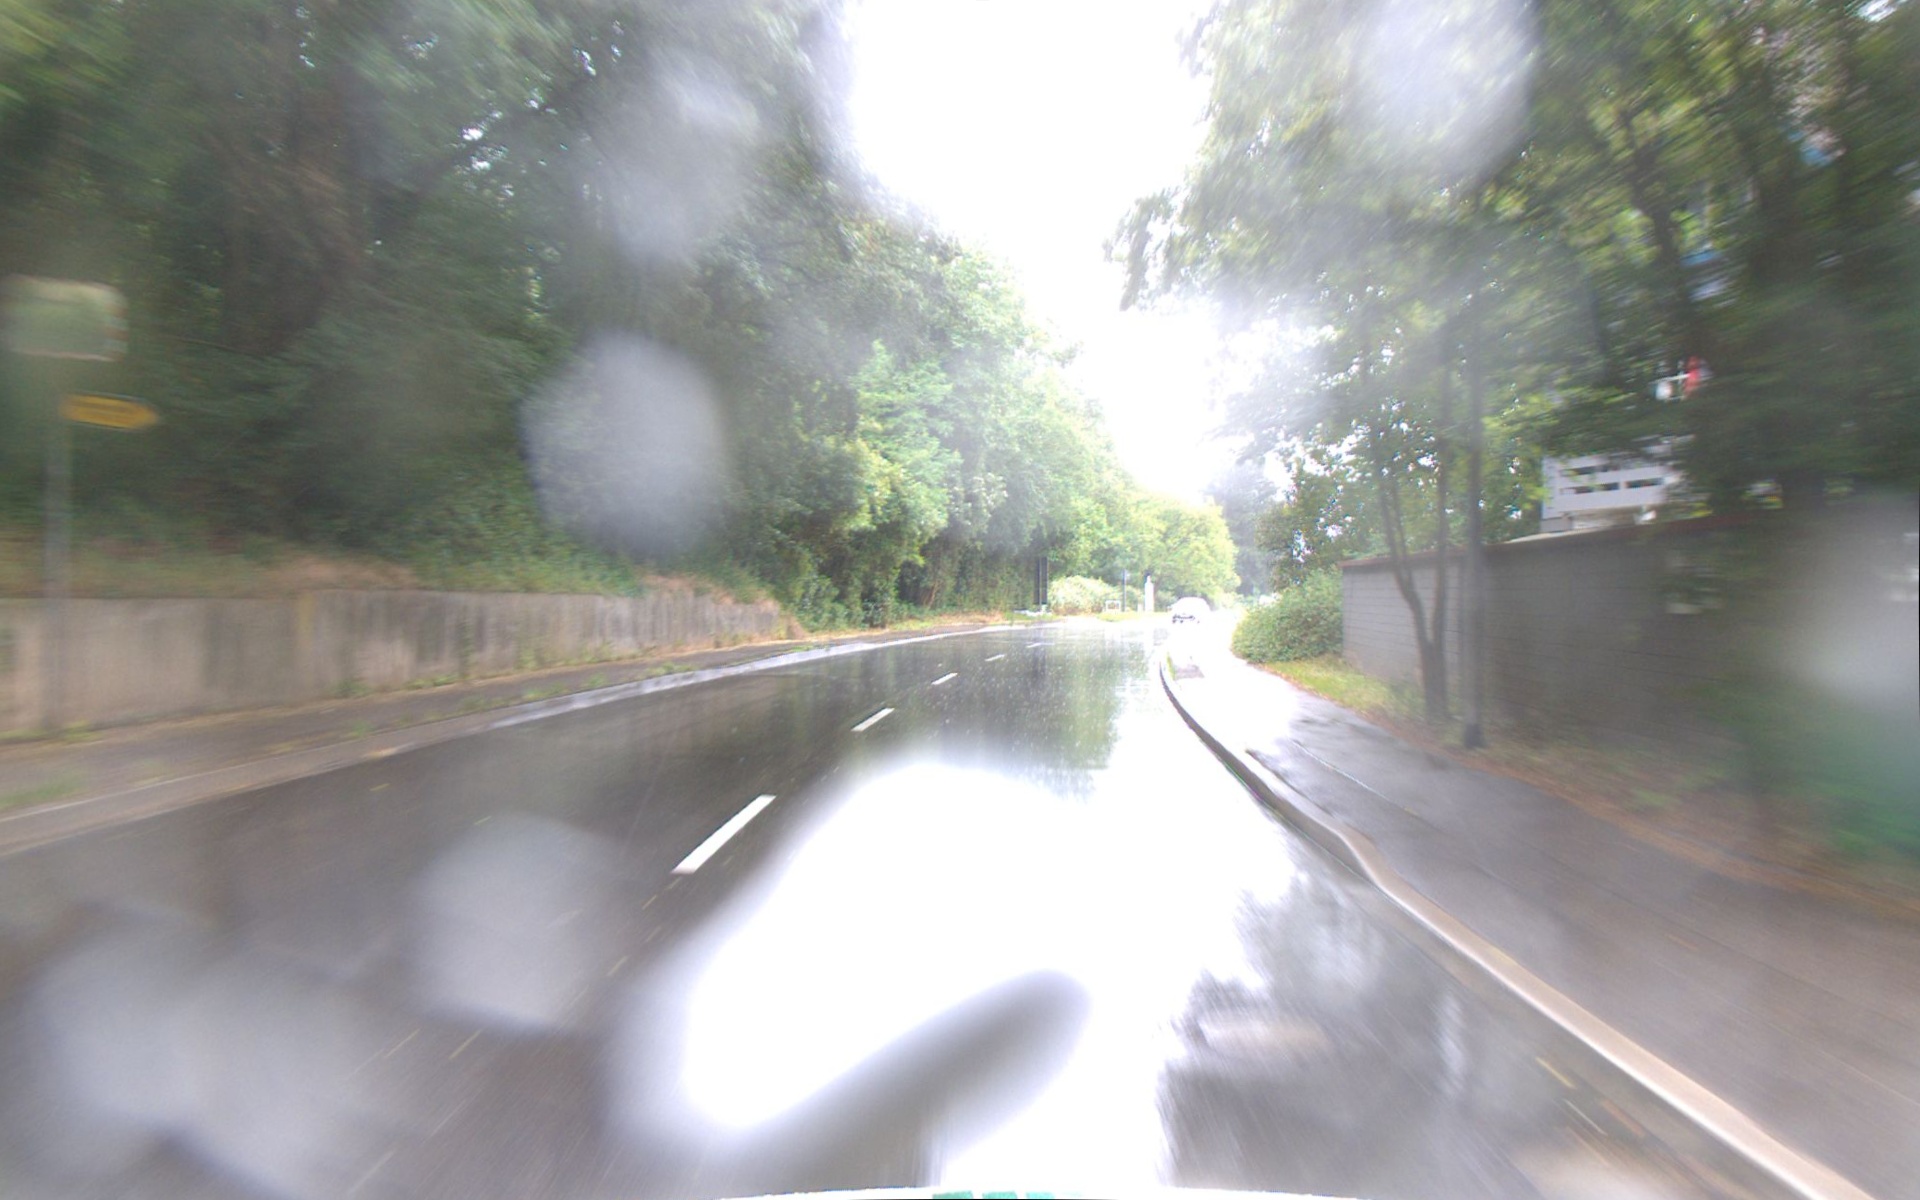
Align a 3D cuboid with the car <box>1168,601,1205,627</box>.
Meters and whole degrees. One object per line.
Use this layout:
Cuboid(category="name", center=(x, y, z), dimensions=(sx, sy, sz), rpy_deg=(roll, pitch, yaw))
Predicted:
Cuboid(category="car", center=(13.434, 0.825, 97.883), dimensions=(1.748, 1.443, 4.638), rpy_deg=(1, 1, 13))
